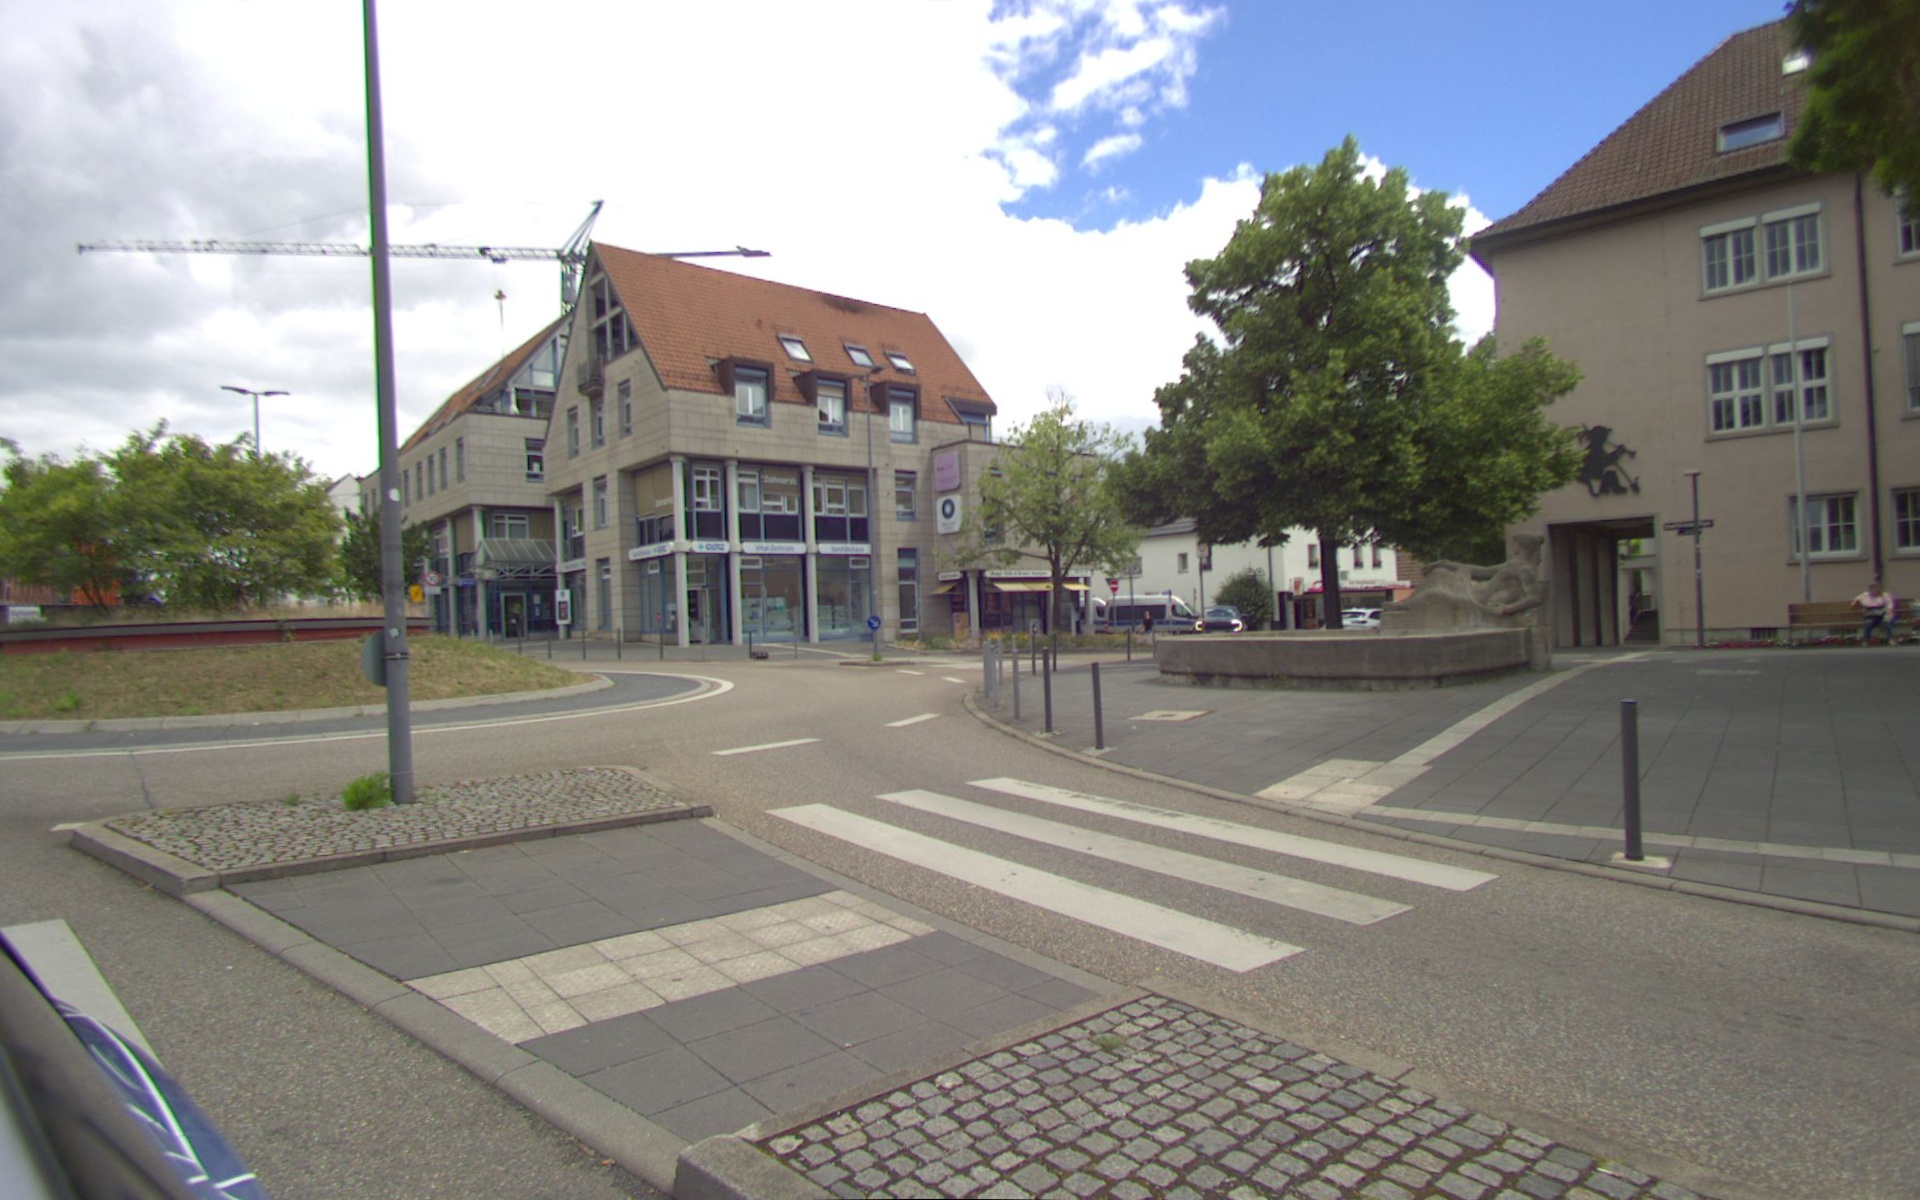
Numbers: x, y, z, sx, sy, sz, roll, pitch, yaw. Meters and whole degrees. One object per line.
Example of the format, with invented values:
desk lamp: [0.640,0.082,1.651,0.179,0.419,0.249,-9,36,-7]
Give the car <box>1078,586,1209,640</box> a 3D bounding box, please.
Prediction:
car: [9.325,0.668,51.572,6.262,2.579,2.190,1,-3,22]

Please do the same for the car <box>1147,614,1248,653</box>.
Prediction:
car: [9.309,1.297,39.972,1.661,1.431,4.013,-1,-1,-28]

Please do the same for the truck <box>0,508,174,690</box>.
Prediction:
truck: [-23.517,0.041,24.736,2.917,4.058,10.625,0,-1,-15]

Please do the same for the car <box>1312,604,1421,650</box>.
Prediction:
car: [14.985,0.969,37.243,3.935,1.542,1.988,-1,-1,-38]

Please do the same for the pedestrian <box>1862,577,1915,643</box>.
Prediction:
pedestrian: [18.249,0.196,19.893,0.572,1.271,0.701,-1,0,-43]
